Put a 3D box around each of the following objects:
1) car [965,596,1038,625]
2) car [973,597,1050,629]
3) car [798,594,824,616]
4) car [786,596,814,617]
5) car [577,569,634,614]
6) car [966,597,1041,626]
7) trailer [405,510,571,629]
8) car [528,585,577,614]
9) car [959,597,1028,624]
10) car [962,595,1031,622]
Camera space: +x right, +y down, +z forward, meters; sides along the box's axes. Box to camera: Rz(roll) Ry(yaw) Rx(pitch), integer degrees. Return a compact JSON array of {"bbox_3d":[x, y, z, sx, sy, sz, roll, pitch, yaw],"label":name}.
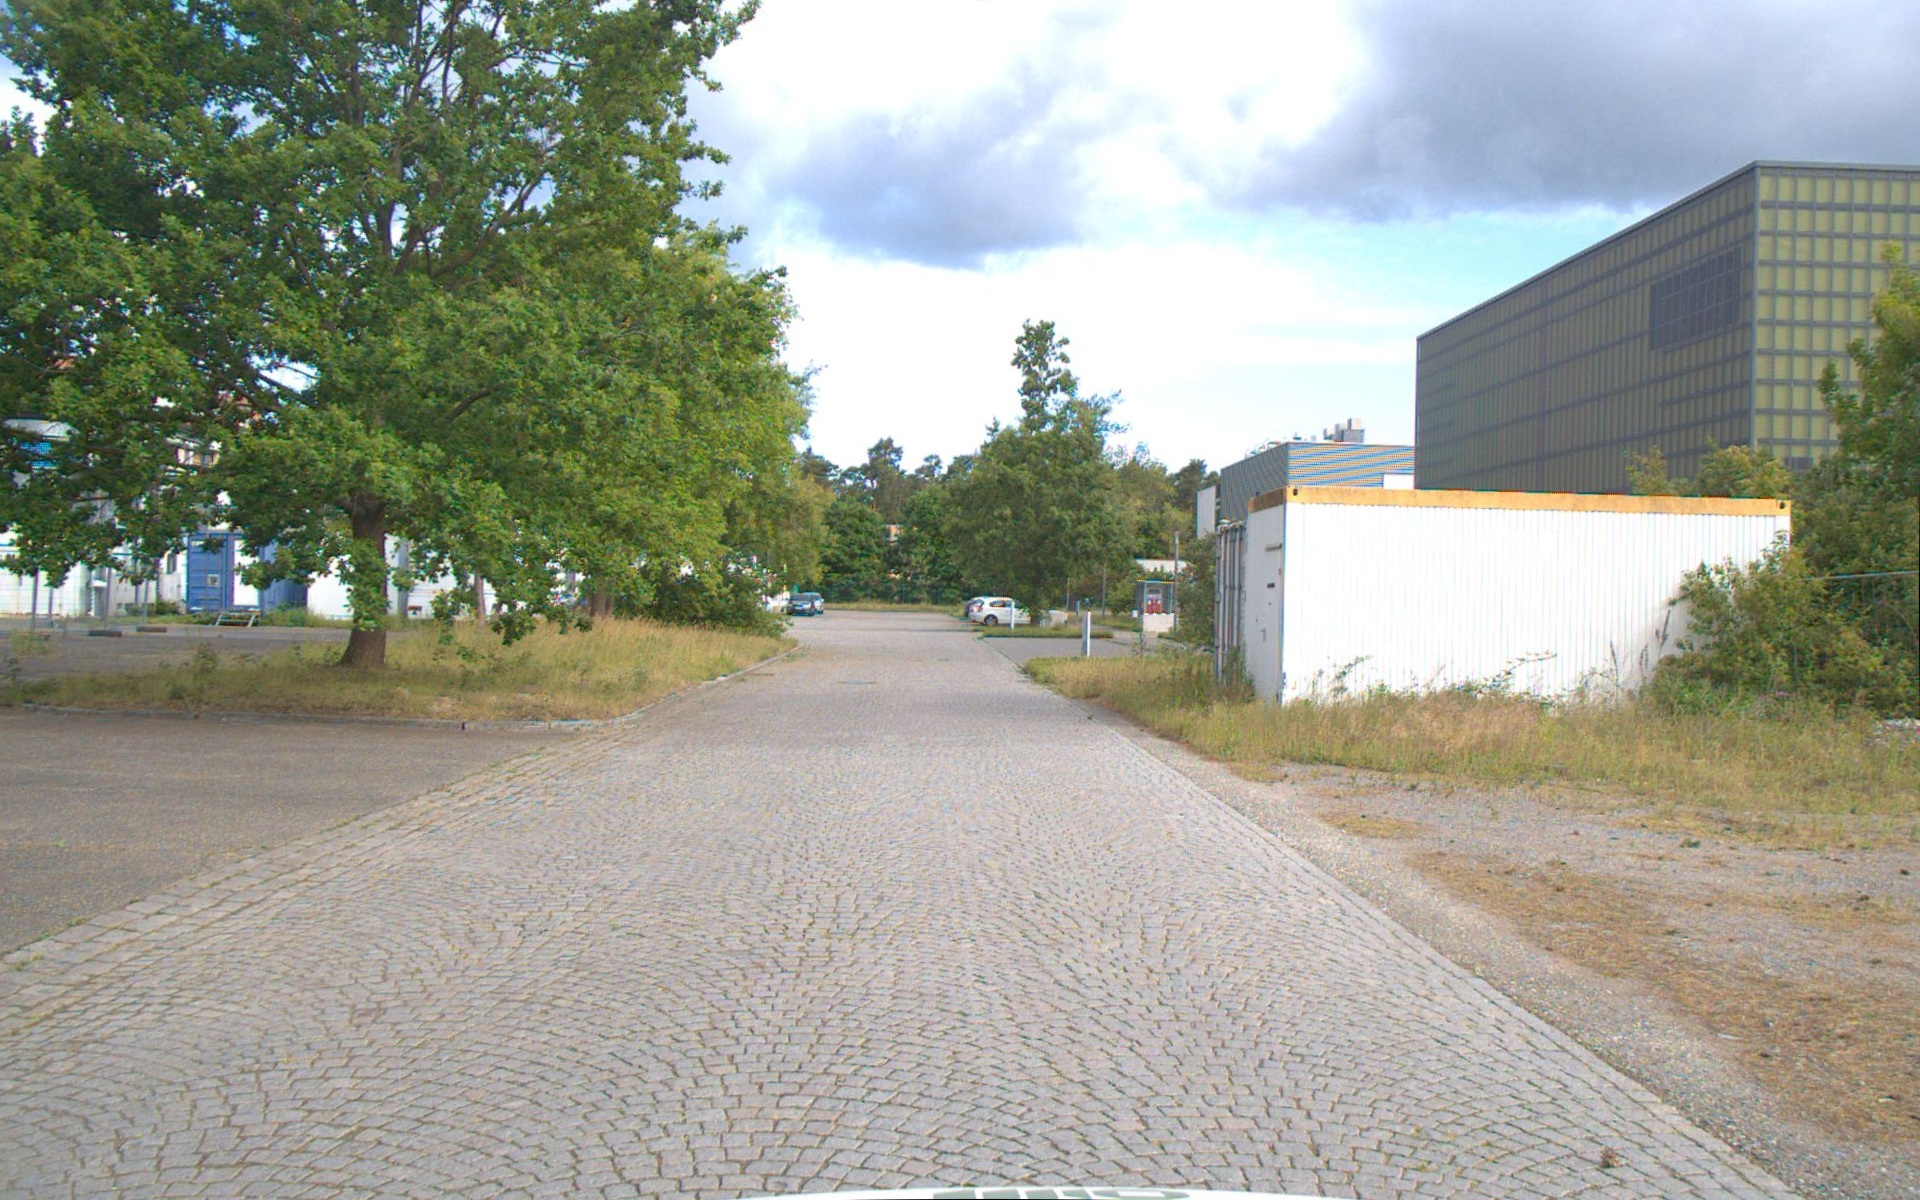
[{"bbox_3d":[2.262,0.579,91.176,3.906,1.481,1.769,1,0,-2],"label":"car"},{"bbox_3d":[2.654,0.686,85.978,3.906,1.481,1.999,2,-1,-2],"label":"car"},{"bbox_3d":[-10.777,0.352,119.718,1.714,1.480,3.997,1,0,-4],"label":"car"},{"bbox_3d":[-10.577,0.418,109.491,1.714,1.388,3.997,1,0,-4],"label":"car"},{"bbox_3d":[-20.869,-0.499,97.537,1.952,2.567,5.619,1,0,2],"label":"car"},{"bbox_3d":[2.299,0.608,88.136,3.906,1.481,1.697,1,0,-2],"label":"car"},{"bbox_3d":[-16.321,-0.971,58.136,2.602,3.770,10.721,1,0,1],"label":"trailer"},{"bbox_3d":[-23.644,-0.034,96.161,1.862,1.602,4.000,1,0,0],"label":"car"},{"bbox_3d":[1.933,0.628,96.069,3.906,1.481,1.769,1,0,-2],"label":"car"},{"bbox_3d":[2.155,0.506,99.293,3.910,1.560,1.998,1,0,-6],"label":"car"}]
